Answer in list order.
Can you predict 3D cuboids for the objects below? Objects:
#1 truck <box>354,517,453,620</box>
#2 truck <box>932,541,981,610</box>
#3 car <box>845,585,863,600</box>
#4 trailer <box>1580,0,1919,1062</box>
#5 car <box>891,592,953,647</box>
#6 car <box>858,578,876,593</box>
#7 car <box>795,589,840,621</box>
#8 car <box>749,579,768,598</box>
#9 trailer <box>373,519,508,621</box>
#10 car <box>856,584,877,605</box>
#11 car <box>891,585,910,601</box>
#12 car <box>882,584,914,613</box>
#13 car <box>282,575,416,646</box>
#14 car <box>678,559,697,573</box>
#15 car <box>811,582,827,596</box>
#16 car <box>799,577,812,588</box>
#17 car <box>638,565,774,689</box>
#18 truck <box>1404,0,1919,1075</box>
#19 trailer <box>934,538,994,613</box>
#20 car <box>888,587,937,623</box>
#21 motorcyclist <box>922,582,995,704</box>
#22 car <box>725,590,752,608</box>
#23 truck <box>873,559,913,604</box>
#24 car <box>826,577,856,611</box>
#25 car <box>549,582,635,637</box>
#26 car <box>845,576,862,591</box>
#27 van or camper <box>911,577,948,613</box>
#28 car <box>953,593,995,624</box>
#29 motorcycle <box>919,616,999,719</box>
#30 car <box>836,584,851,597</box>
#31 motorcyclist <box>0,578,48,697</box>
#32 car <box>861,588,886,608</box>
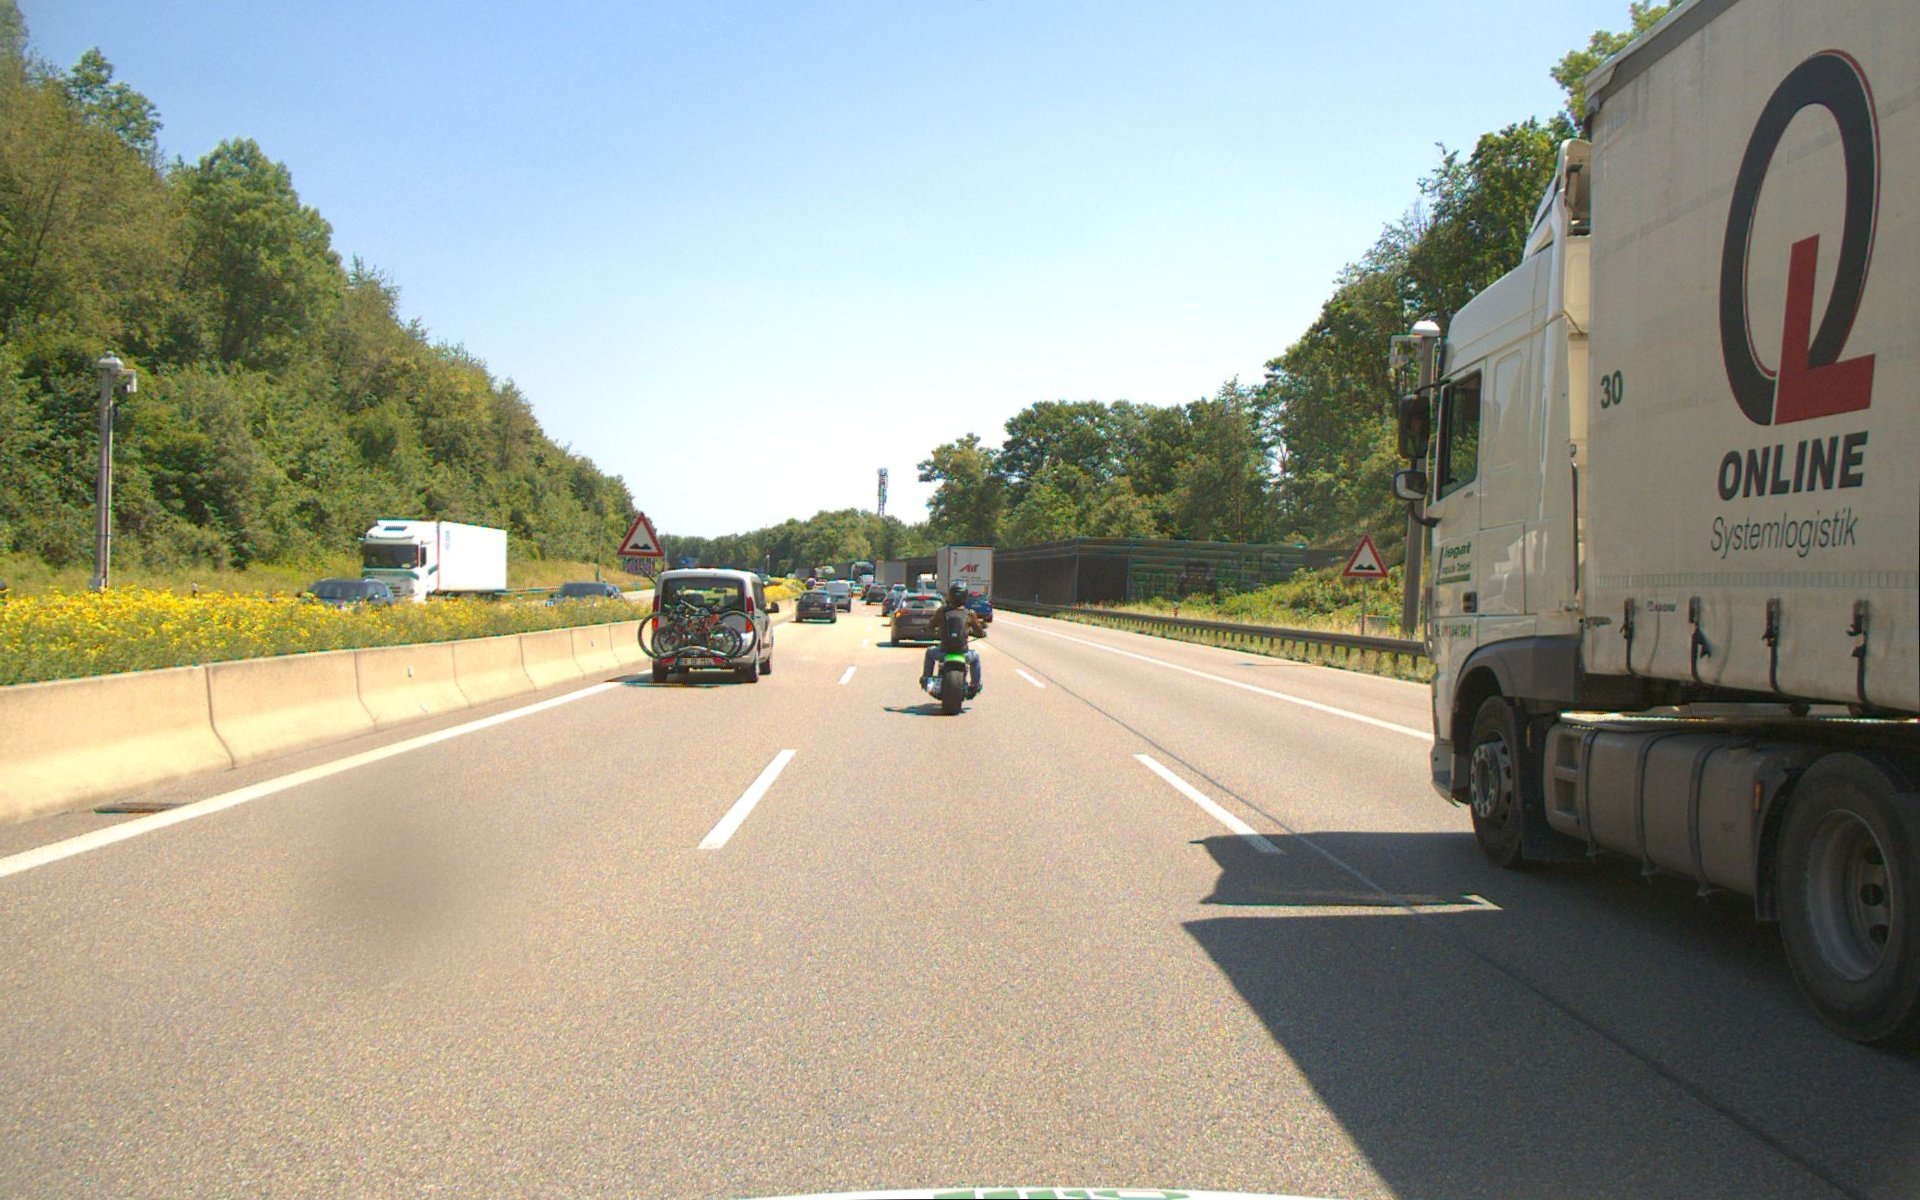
[{"bbox_3d":[-23.580,-1.265,70.347,2.636,4.161,5.199,1,-1,-3],"label":"truck"},{"bbox_3d":[-0.272,-1.544,105.452,2.828,4.218,5.982,1,1,-3],"label":"truck"},{"bbox_3d":[-11.646,-0.825,181.372,1.796,1.522,3.739,1,0,-5],"label":"car"},{"bbox_3d":[4.474,-0.568,1.469,2.729,4.278,13.243,1,1,0],"label":"trailer"},{"bbox_3d":[-1.122,0.540,47.275,1.629,1.478,3.866,1,0,-3],"label":"car"},{"bbox_3d":[-12.671,-1.984,225.225,2.068,1.909,3.994,1,0,-7],"label":"car"},{"bbox_3d":[-6.412,0.234,74.704,1.954,1.411,3.996,1,0,-4],"label":"car"},{"bbox_3d":[-23.465,-1.343,193.011,1.954,2.049,4.417,1,0,-4],"label":"car"},{"bbox_3d":[-24.011,-1.226,77.376,2.661,4.281,13.922,1,0,-3],"label":"trailer"},{"bbox_3d":[-9.212,-0.540,162.869,1.874,2.049,3.687,1,0,-5],"label":"car"},{"bbox_3d":[-6.441,-0.722,178.684,1.954,1.601,3.997,1,0,-4],"label":"car"},{"bbox_3d":[-3.531,-0.046,93.575,1.744,1.579,3.583,1,0,-3],"label":"car"},{"bbox_3d":[-15.133,0.233,41.178,1.909,1.670,3.979,1,0,-2],"label":"car"},{"bbox_3d":[-34.115,-4.279,207.388,1.954,1.645,4.480,1,1,-4],"label":"car"},{"bbox_3d":[-16.530,-1.265,193.672,1.796,1.522,3.739,1,0,-5],"label":"car"},{"bbox_3d":[-21.969,-2.484,235.337,1.797,1.522,3.738,1,0,-7],"label":"car"},{"bbox_3d":[-4.172,0.435,27.792,1.862,1.906,4.409,1,0,-4],"label":"car"},{"bbox_3d":[4.409,-0.658,8.171,2.729,4.278,5.869,1,1,0],"label":"truck"},{"bbox_3d":[0.109,-1.421,98.636,2.828,4.109,13.787,1,1,-3],"label":"trailer"},{"bbox_3d":[-2.096,0.229,71.453,1.954,1.455,3.844,1,0,-4],"label":"car"},{"bbox_3d":[-0.012,0.539,21.379,0.881,1.500,1.872,1,-1,0],"label":"motorcyclist"},{"bbox_3d":[-19.187,-0.088,143.556,1.953,1.512,3.998,1,0,-2],"label":"car"},{"bbox_3d":[-7.786,-2.079,190.560,3.731,5.046,8.935,1,0,-8],"label":"truck"},{"bbox_3d":[-7.412,-0.343,103.412,1.755,2.049,3.640,1,0,-3],"label":"car"},{"bbox_3d":[-11.836,0.281,53.423,1.953,1.707,4.079,1,0,-2],"label":"car"},{"bbox_3d":[-14.845,-2.314,230.627,2.068,1.909,3.994,1,0,-7],"label":"car"},{"bbox_3d":[-2.565,-0.363,137.148,2.632,2.862,6.796,1,0,-4],"label":"van or camper"},{"bbox_3d":[0.686,0.430,84.094,1.619,1.508,4.475,1,0,-6],"label":"car"},{"bbox_3d":[-0.015,0.834,21.440,0.945,1.168,2.811,1,1,0],"label":"motorcycle"},{"bbox_3d":[-14.128,-1.135,200.338,1.796,1.522,3.739,1,0,-5],"label":"car"},{"bbox_3d":[-11.081,0.426,19.232,0.610,1.357,0.577,1,0,-1],"label":"motorcyclist"},{"bbox_3d":[-7.182,-0.151,137.162,1.954,1.669,3.996,1,0,-4],"label":"car"}]
